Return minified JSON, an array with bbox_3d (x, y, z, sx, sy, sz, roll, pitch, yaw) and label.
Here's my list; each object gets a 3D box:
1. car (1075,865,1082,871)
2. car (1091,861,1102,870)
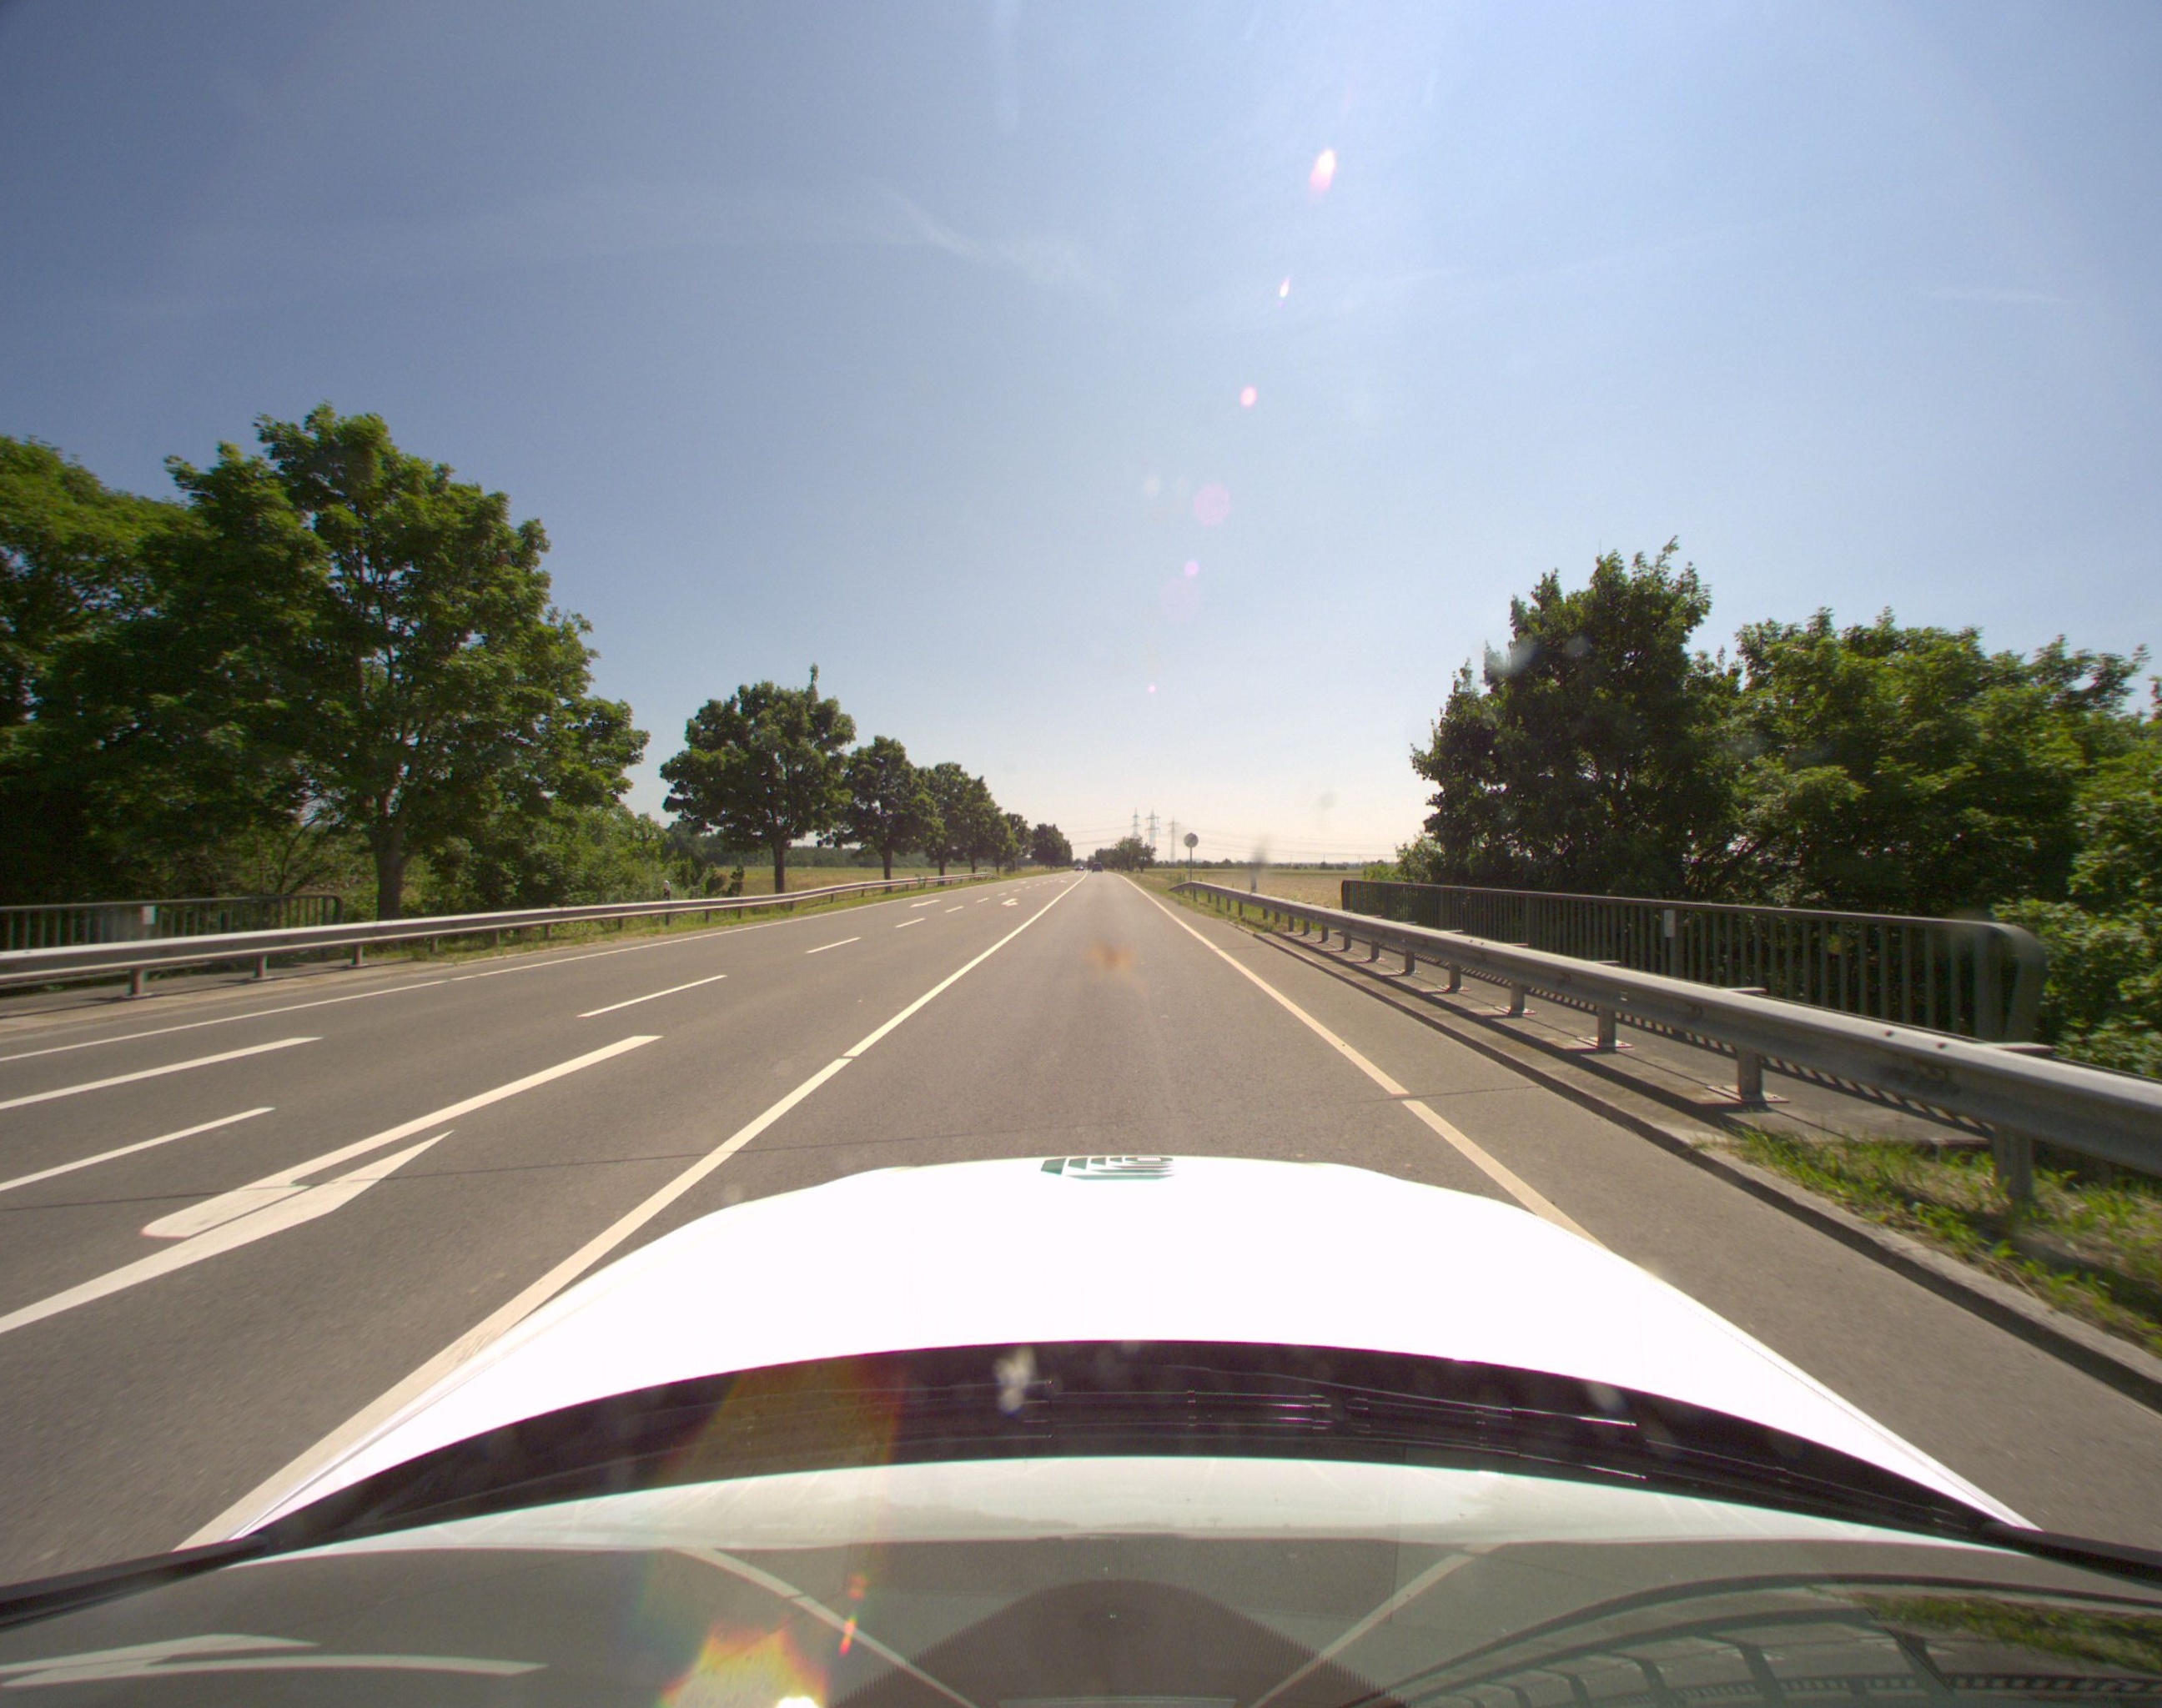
[{"bbox_3d":[-0.542,3.139,184.364,1.734,1.473,4.617,-1,-1,0],"label":"car"},{"bbox_3d":[2.714,2.006,144.618,1.879,1.518,4.038,2,-1,0],"label":"car"}]
